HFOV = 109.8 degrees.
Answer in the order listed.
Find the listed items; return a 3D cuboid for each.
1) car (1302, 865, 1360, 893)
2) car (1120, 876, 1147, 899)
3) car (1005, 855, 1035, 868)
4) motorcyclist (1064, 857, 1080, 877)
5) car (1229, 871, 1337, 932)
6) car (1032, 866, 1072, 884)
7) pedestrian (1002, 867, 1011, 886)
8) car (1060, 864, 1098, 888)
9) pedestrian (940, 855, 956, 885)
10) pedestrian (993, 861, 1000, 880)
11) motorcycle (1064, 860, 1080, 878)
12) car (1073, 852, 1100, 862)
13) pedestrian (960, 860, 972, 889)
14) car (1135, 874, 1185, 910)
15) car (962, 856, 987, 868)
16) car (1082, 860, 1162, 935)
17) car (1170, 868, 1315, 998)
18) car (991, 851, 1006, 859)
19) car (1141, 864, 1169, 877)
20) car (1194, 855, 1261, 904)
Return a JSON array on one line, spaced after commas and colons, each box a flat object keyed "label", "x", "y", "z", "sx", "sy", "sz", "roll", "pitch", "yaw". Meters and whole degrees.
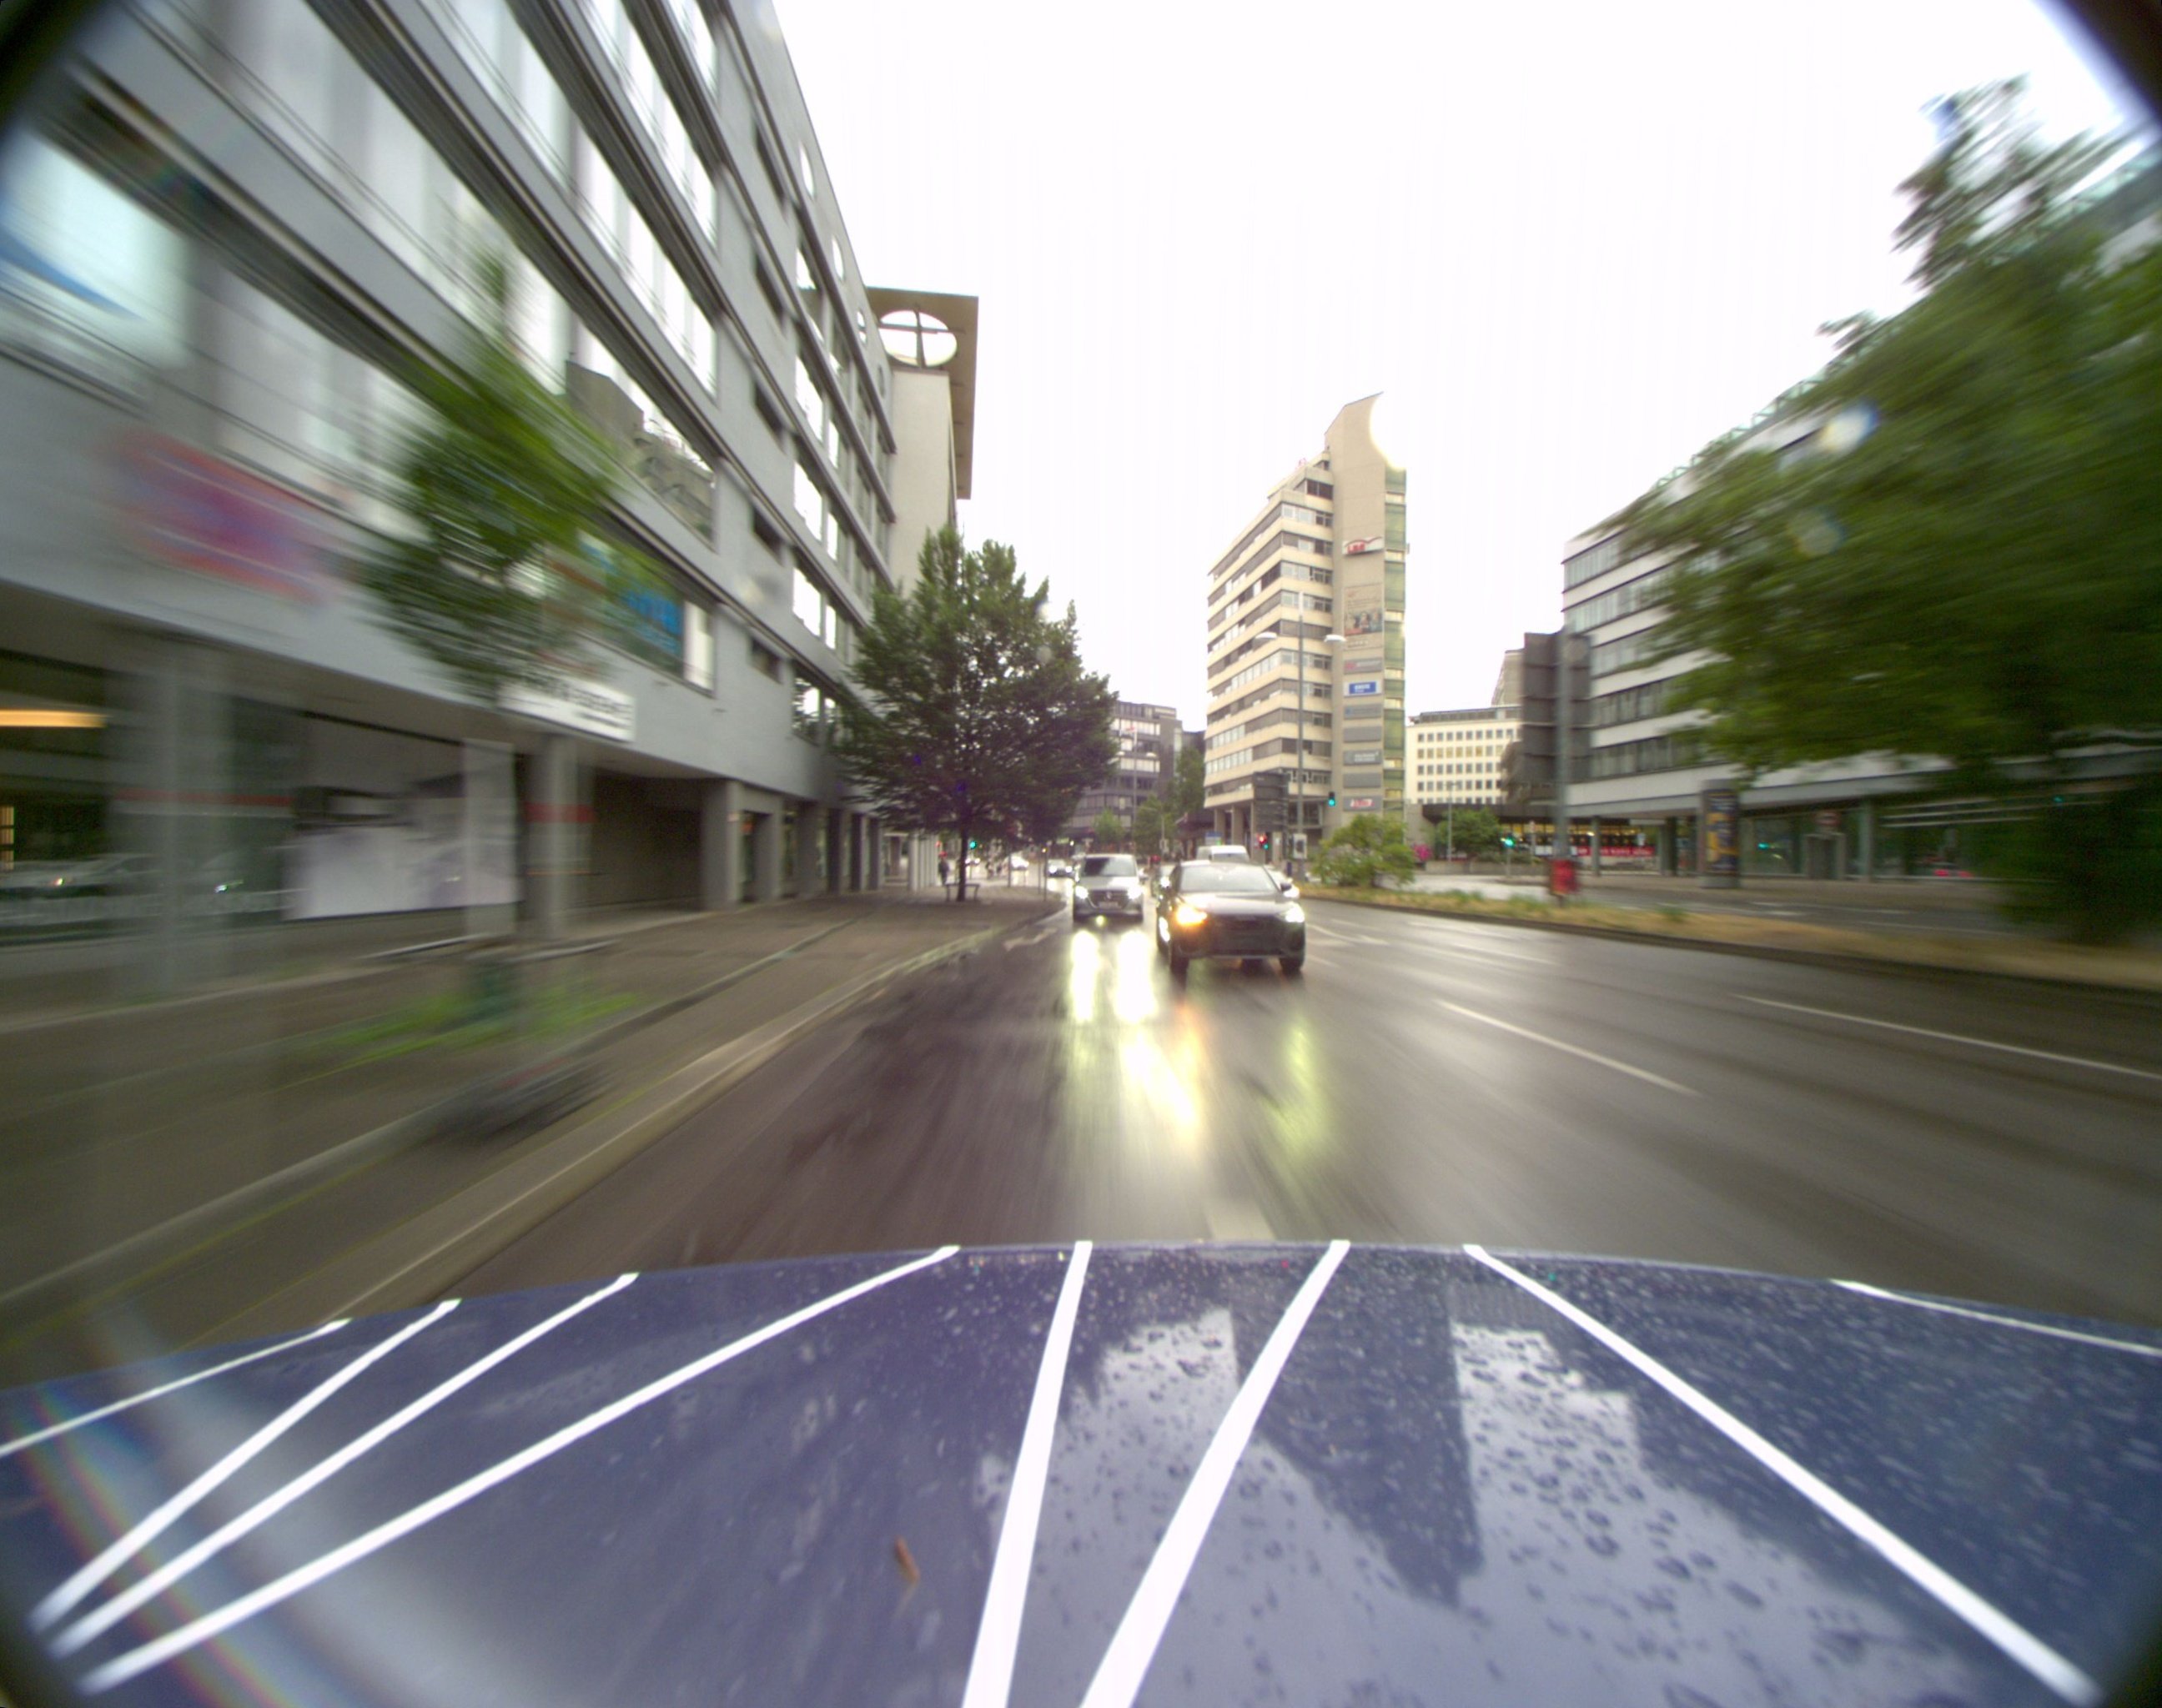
[{"label": "car", "x": 14.355, "y": 1.404, "z": 43.813, "sx": 1.757, "sy": 1.455, "sz": 3.969, "roll": -1, "pitch": 0, "yaw": -5}, {"label": "car", "x": 3.745, "y": 2.380, "z": 54.460, "sx": 1.784, "sy": 1.499, "sz": 4.000, "roll": 0, "pitch": 0, "yaw": 2}, {"label": "car", "x": -6.872, "y": 0.812, "z": 85.396, "sx": 1.896, "sy": 1.477, "sz": 3.990, "roll": -1, "pitch": 0, "yaw": -30}, {"label": "motorcyclist", "x": -0.725, "y": 1.021, "z": 58.999, "sx": 1.152, "sy": 1.501, "sz": 1.197, "roll": 0, "pitch": 1, "yaw": -3}, {"label": "car", "x": 5.734, "y": 1.301, "z": 22.079, "sx": 1.775, "sy": 1.470, "sz": 4.126, "roll": -1, "pitch": 0, "yaw": -4}, {"label": "car", "x": -2.650, "y": 1.827, "z": 67.796, "sx": 1.896, "sy": 1.477, "sz": 3.990, "roll": -1, "pitch": 0, "yaw": -31}, {"label": "pedestrian", "x": -6.262, "y": 1.859, "z": 63.717, "sx": 0.654, "sy": 1.588, "sz": 1.058, "roll": -1, "pitch": 1, "yaw": -7}, {"label": "car", "x": -0.062, "y": 1.413, "z": 49.895, "sx": 1.688, "sy": 1.477, "sz": 4.003, "roll": 0, "pitch": 0, "yaw": 12}, {"label": "pedestrian", "x": -7.824, "y": 0.951, "z": 44.715, "sx": 0.794, "sy": 1.771, "sz": 0.894, "roll": 0, "pitch": -1, "yaw": -4}, {"label": "pedestrian", "x": -7.103, "y": 1.379, "z": 63.799, "sx": 0.527, "sy": 1.588, "sz": 0.730, "roll": -1, "pitch": 1, "yaw": -7}, {"label": "motorcycle", "x": -0.739, "y": 1.131, "z": 58.695, "sx": 1.130, "sy": 1.259, "sz": 3.373, "roll": 0, "pitch": 0, "yaw": -2}, {"label": "car", "x": 0.860, "y": 0.484, "z": 116.912, "sx": 1.792, "sy": 1.508, "sz": 5.240, "roll": -1, "pitch": 0, "yaw": -30}, {"label": "pedestrian", "x": -7.066, "y": 1.283, "z": 46.811, "sx": 0.641, "sy": 1.771, "sz": 0.880, "roll": 0, "pitch": -1, "yaw": -1}, {"label": "car", "x": 3.555, "y": 1.675, "z": 34.749, "sx": 1.904, "sy": 1.393, "sz": 4.241, "roll": 0, "pitch": 0, "yaw": 1}, {"label": "car", "x": -14.108, "y": 1.050, "z": 100.188, "sx": 1.896, "sy": 1.477, "sz": 3.990, "roll": -1, "pitch": 0, "yaw": -30}, {"label": "car", "x": 1.223, "y": 1.137, "z": 22.135, "sx": 2.059, "sy": 1.881, "sz": 5.050, "roll": 0, "pitch": 0, "yaw": 4}, {"label": "car", "x": 2.325, "y": 1.042, "z": 11.827, "sx": 1.801, "sy": 1.543, "sz": 4.390, "roll": 0, "pitch": 0, "yaw": 7}, {"label": "car", "x": -15.402, "y": 0.113, "z": 141.497, "sx": 1.745, "sy": 1.455, "sz": 3.993, "roll": -1, "pitch": 0, "yaw": -21}, {"label": "car", "x": 9.966, "y": 2.198, "z": 102.468, "sx": 2.001, "sy": 1.576, "sz": 5.162, "roll": -1, "pitch": 0, "yaw": -15}, {"label": "car", "x": 7.512, "y": 1.233, "z": 39.689, "sx": 2.259, "sy": 2.371, "sz": 5.718, "roll": 0, "pitch": 0, "yaw": -1}]
